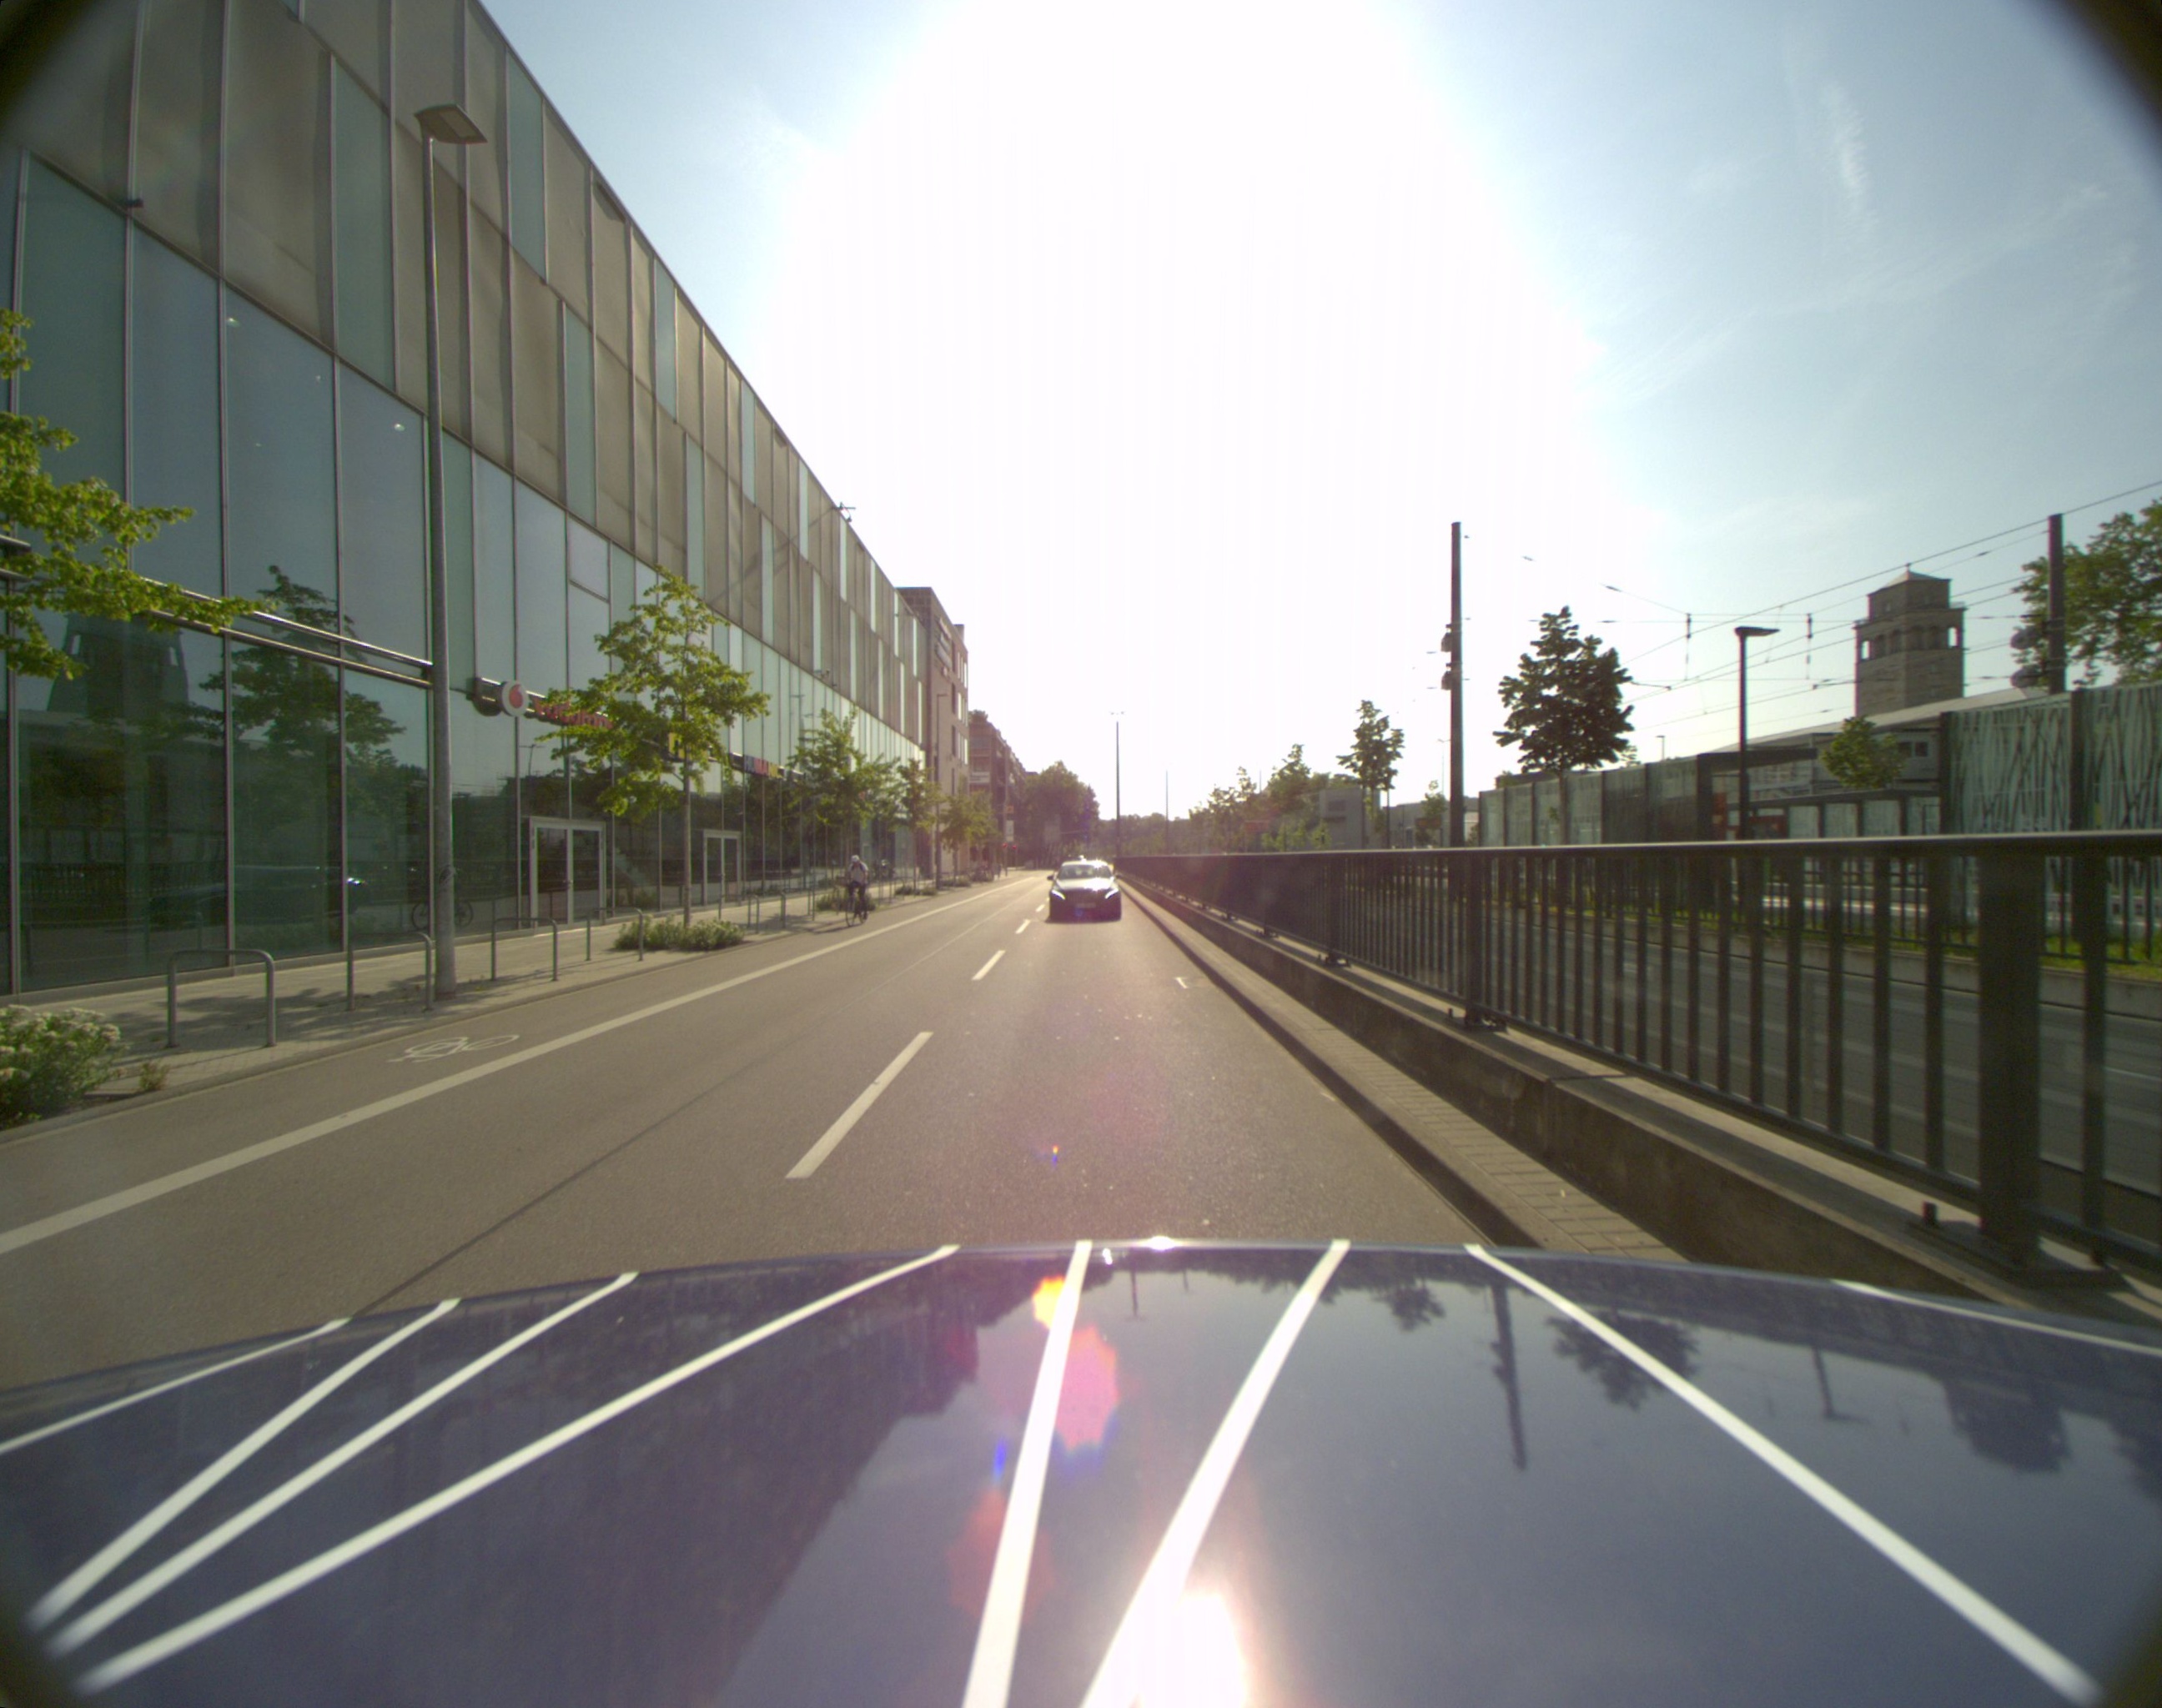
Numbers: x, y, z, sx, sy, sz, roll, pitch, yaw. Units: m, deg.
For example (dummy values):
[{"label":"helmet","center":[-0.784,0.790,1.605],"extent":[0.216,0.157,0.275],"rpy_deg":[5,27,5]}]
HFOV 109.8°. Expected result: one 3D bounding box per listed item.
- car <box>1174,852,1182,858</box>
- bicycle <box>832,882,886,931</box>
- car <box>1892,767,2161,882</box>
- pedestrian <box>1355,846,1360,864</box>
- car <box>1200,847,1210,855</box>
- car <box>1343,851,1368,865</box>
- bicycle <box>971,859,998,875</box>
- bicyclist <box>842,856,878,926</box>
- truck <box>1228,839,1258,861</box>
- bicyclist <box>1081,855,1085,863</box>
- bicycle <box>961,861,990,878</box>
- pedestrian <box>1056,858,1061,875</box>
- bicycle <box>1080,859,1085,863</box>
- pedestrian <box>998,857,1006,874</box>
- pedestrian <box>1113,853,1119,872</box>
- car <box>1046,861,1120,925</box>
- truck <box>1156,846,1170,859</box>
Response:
[{"label":"car","center":[26.353,0.309,206.525],"extent":[1.644,1.592,3.999],"rpy_deg":[0,0,-1]},{"label":"bicycle","center":[-5.652,1.314,19.487],"extent":[0.662,1.111,2.051],"rpy_deg":[-1,0,3]},{"label":"car","center":[34.350,-0.956,26.147],"extent":[3.062,3.492,9.233],"rpy_deg":[-1,0,0]},{"label":"pedestrian","center":[24.997,0.095,68.634],"extent":[0.371,1.666,0.641],"rpy_deg":[-1,1,17]},{"label":"car","center":[28.648,-0.618,175.847],"extent":[1.620,1.778,4.518],"rpy_deg":[-1,0,-1]},{"label":"car","center":[30.785,0.437,85.180],"extent":[1.600,1.455,3.434],"rpy_deg":[-1,0,1]},{"label":"bicycle","center":[-7.180,0.966,56.403],"extent":[1.843,1.106,0.687],"rpy_deg":[-2,0,3]},{"label":"bicyclist","center":[-5.649,0.931,19.436],"extent":[0.652,1.738,0.769],"rpy_deg":[-1,1,3]},{"label":"truck","center":[27.785,-0.666,130.538],"extent":[3.029,3.565,8.889],"rpy_deg":[0,0,-1]},{"label":"bicyclist","center":[0.351,0.852,141.890],"extent":[0.612,1.505,0.813],"rpy_deg":[-1,1,-9]},{"label":"bicycle","center":[-7.270,1.058,52.227],"extent":[1.882,1.103,0.490],"rpy_deg":[-1,1,3]},{"label":"pedestrian","center":[-2.103,1.154,71.179],"extent":[0.468,1.640,0.777],"rpy_deg":[-1,0,1]},{"label":"bicycle","center":[0.324,1.324,142.056],"extent":[0.630,0.702,1.808],"rpy_deg":[-1,0,-9]},{"label":"pedestrian","center":[-7.136,1.056,68.636],"extent":[0.710,1.479,0.604],"rpy_deg":[-1,0,-6]},{"label":"pedestrian","center":[3.182,0.758,68.363],"extent":[0.468,1.640,0.777],"rpy_deg":[-1,0,1]},{"label":"car","center":[0.176,0.959,20.650],"extent":[1.716,1.429,5.058],"rpy_deg":[-1,0,3]},{"label":"truck","center":[25.266,-0.398,234.752],"extent":[2.979,3.787,10.420],"rpy_deg":[-1,0,-2]}]
